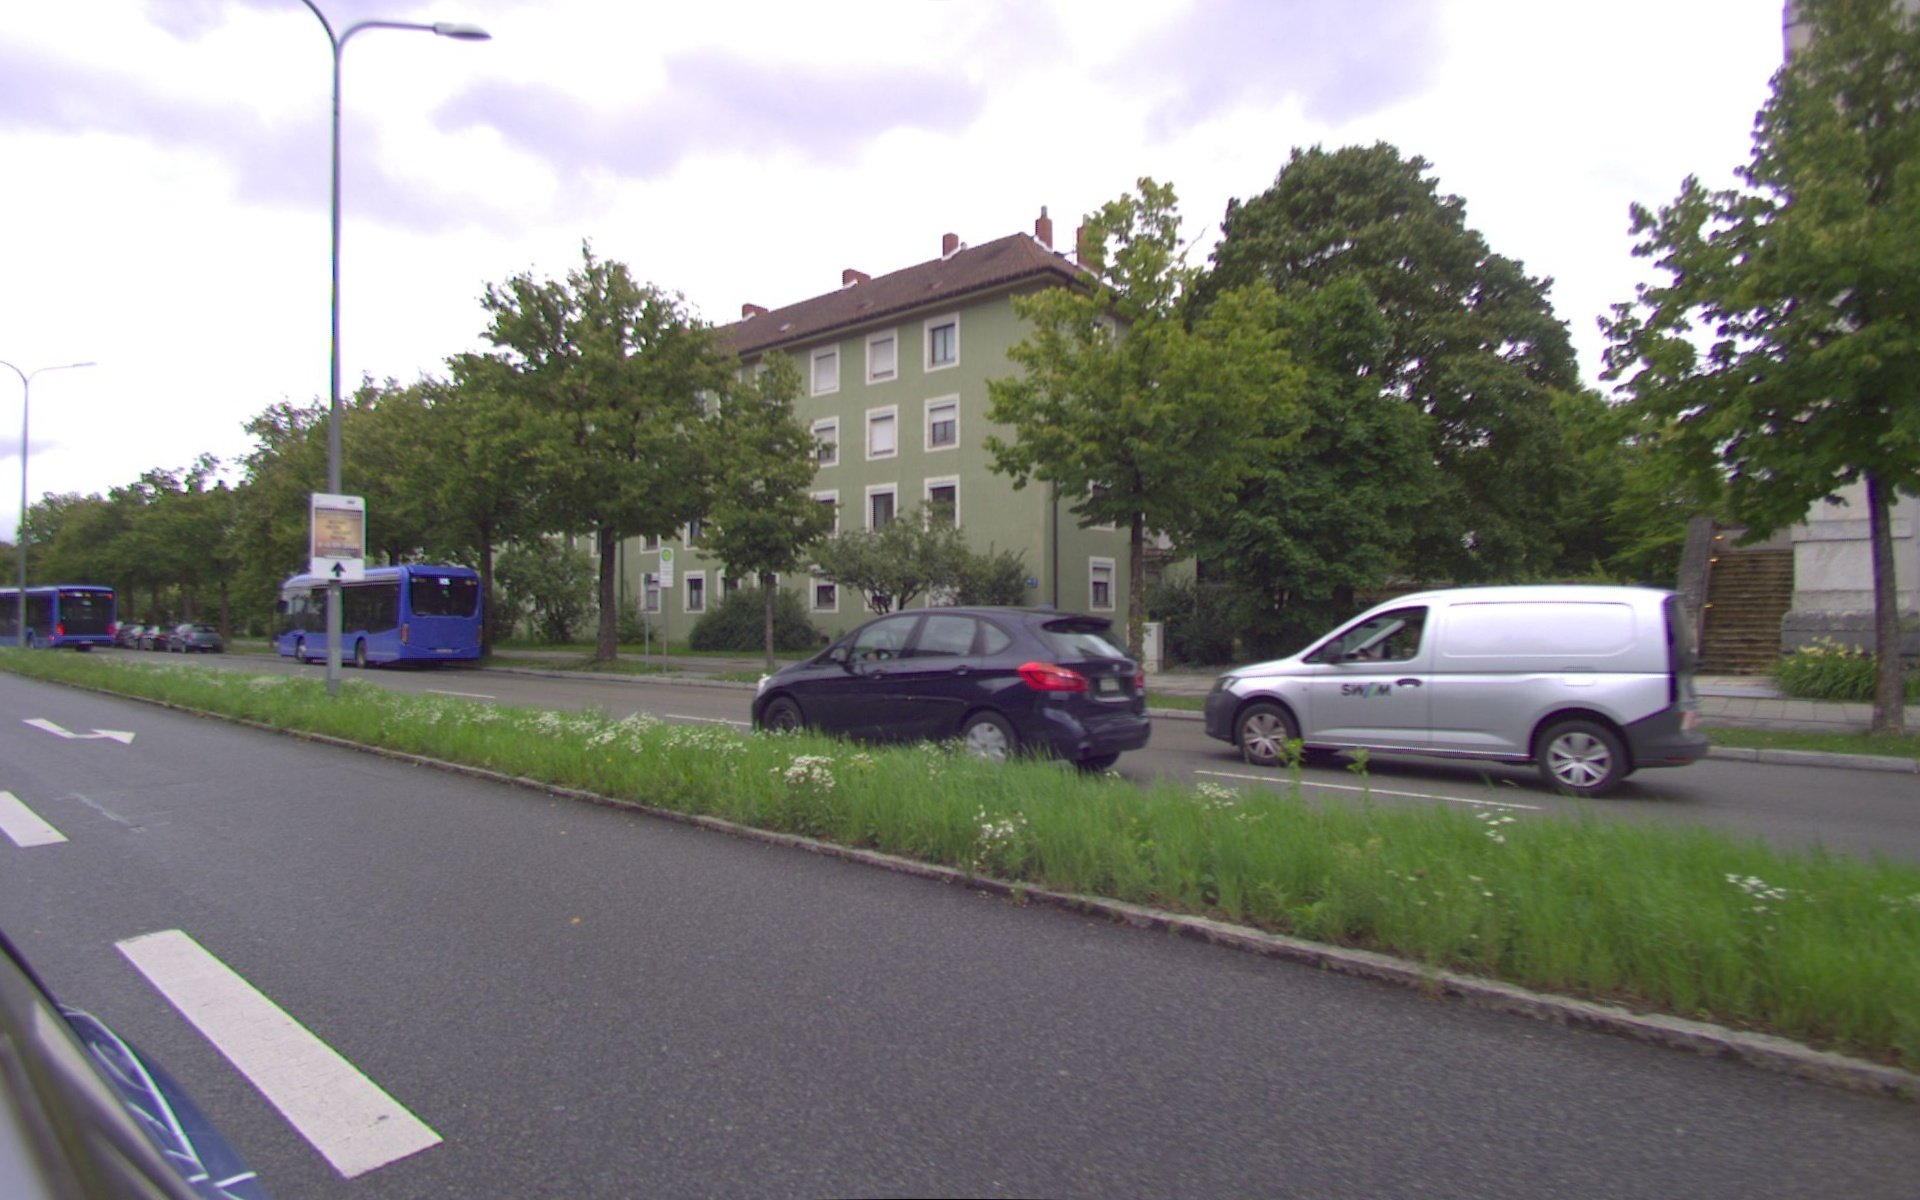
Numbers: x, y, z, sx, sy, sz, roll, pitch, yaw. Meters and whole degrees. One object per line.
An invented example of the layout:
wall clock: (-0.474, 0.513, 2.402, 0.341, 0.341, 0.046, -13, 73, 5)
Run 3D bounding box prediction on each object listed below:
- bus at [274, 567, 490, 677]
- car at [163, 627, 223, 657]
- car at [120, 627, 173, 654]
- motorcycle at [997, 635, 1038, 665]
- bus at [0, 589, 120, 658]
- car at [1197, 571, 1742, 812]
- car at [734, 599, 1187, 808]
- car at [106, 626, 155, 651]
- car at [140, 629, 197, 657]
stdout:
bus: (-20.713, 0.814, 35.736, 12.042, 3.369, 2.717, -1, -3, 41)
car: (-40.312, 2.170, 53.167, 3.909, 1.473, 1.833, -1, 0, 42)
car: (-48.298, 2.375, 60.064, 3.909, 1.473, 1.833, -1, 0, 42)
motorcycle: (1.745, 1.512, 30.664, 1.234, 0.889, 0.429, -1, -1, 41)
bus: (-48.701, 1.254, 53.536, 12.231, 3.369, 2.725, -1, -3, 32)
car: (4.724, 0.743, 9.797, 4.427, 1.825, 1.761, -1, -2, 40)
car: (-0.164, 0.830, 9.720, 4.288, 1.582, 1.681, -1, -2, 40)
car: (-52.156, 2.380, 63.626, 3.909, 1.473, 1.833, -1, 0, 42)
car: (-43.941, 2.364, 56.151, 3.909, 1.473, 1.833, -1, 0, 42)
